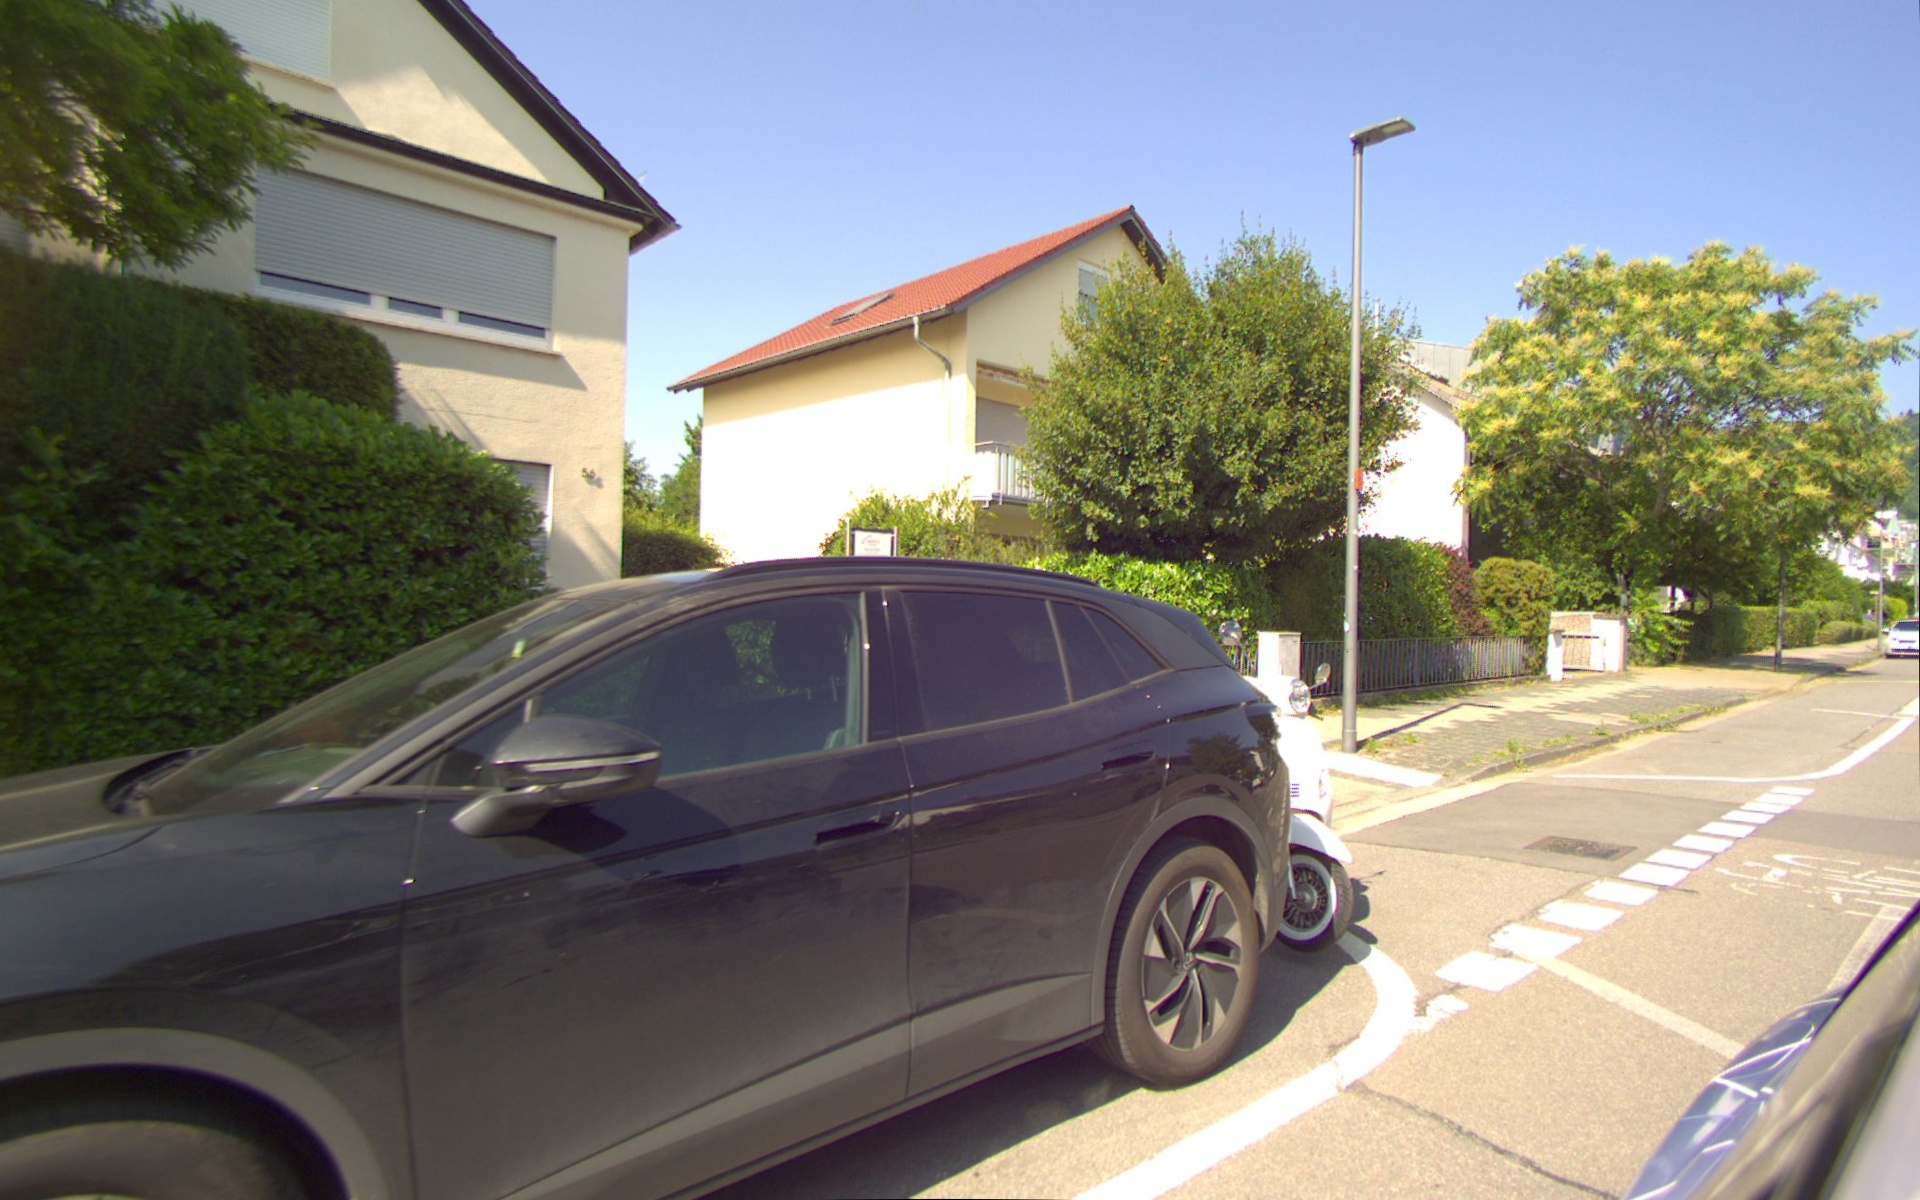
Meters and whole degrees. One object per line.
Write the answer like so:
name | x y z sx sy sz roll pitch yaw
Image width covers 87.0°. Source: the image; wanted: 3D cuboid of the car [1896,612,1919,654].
car | 33.675 1.109 35.004 4.007 1.420 1.741 1 -1 -45

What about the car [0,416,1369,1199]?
car | -0.722 0.603 3.028 4.391 1.659 1.788 1 -1 -40

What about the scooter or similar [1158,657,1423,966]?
scooter or similar | 1.481 0.888 4.907 0.707 1.169 1.795 -1 -2 2

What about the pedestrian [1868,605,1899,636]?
pedestrian | 57.638 1.270 63.174 0.888 1.896 1.184 2 1 14
